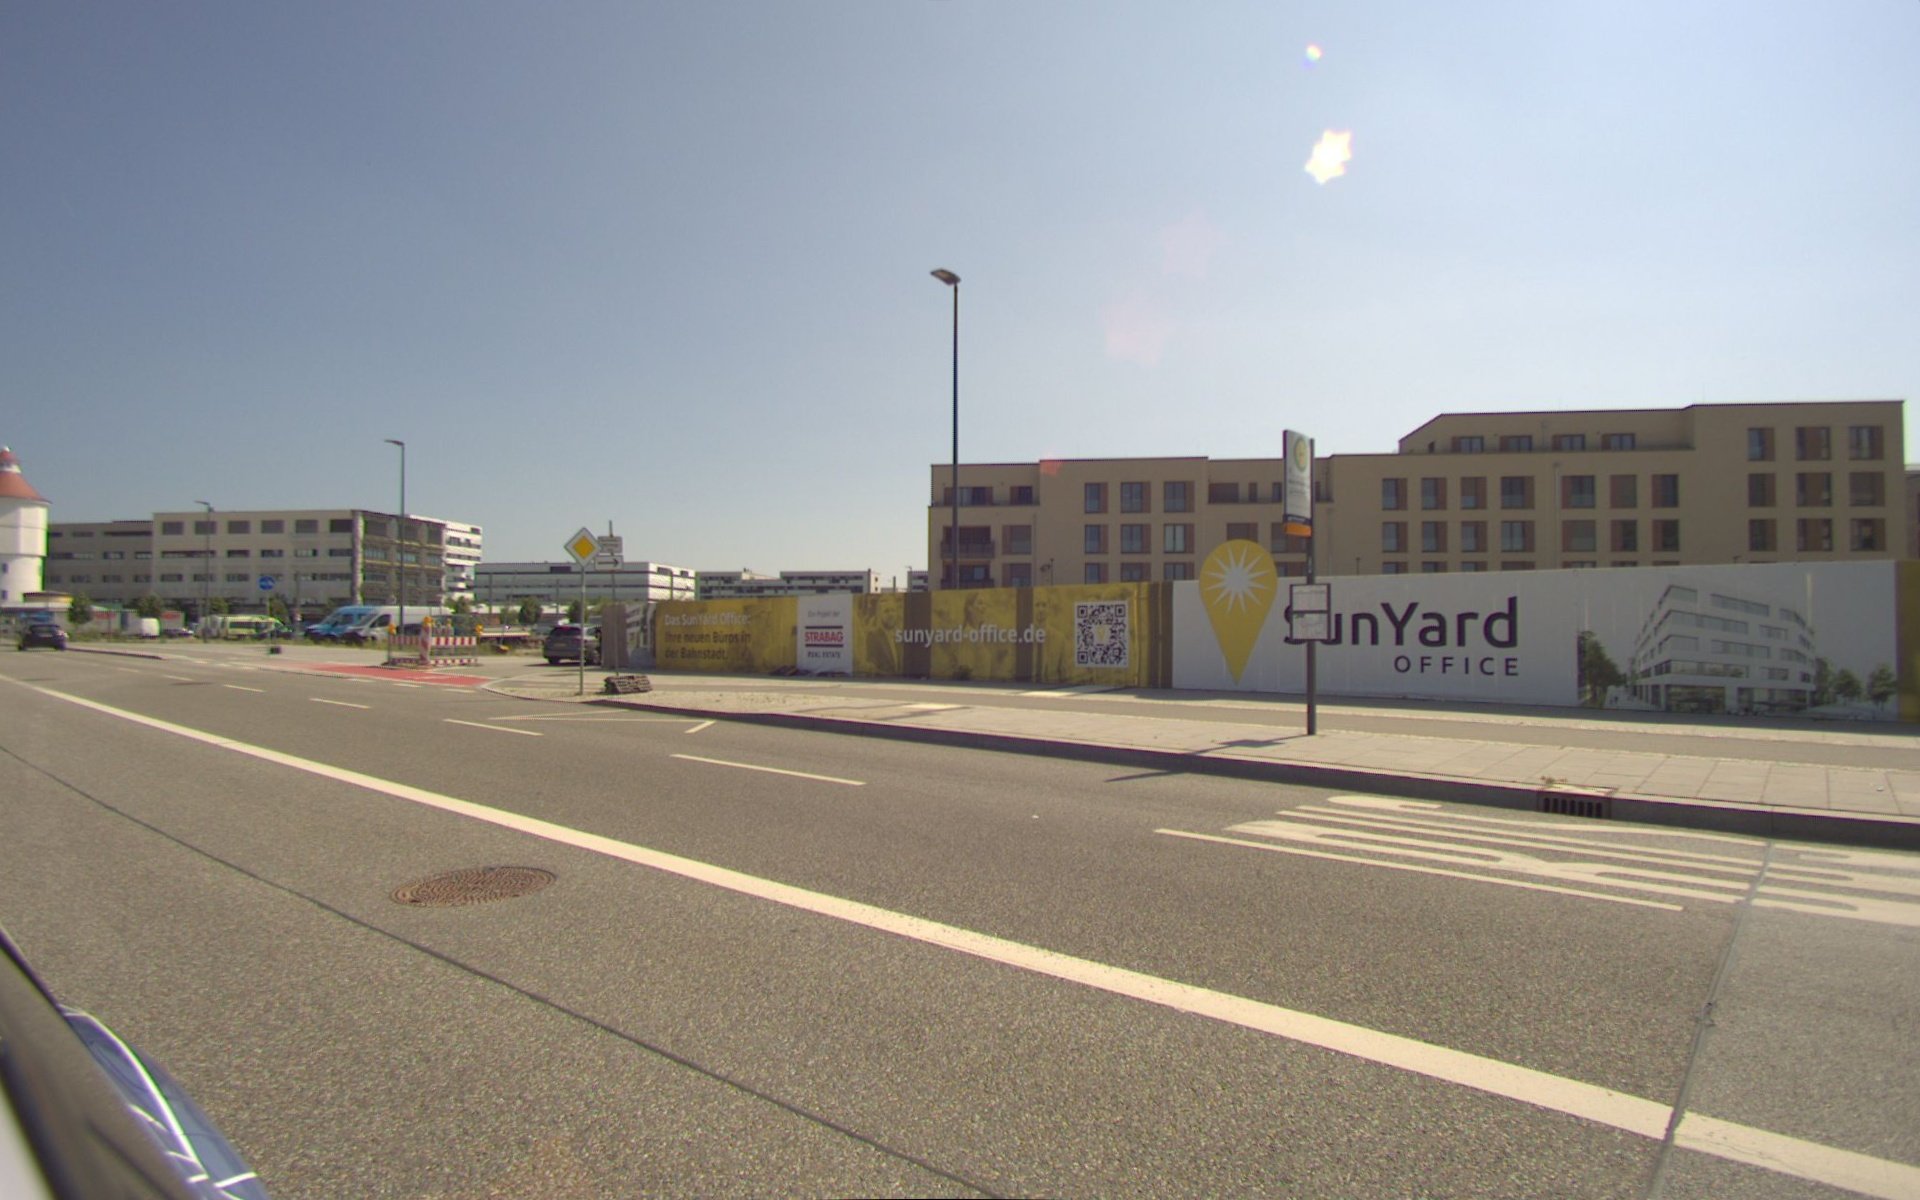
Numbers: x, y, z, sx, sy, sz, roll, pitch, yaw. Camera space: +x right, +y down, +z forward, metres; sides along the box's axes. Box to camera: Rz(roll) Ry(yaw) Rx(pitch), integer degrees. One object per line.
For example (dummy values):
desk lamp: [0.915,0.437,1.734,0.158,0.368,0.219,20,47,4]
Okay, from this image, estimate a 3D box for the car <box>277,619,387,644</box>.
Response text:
car: [-40.025,1.975,64.616,2.104,1.485,5.596,-2,-1,38]

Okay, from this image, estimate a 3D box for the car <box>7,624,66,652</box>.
car: [-47.139,1.910,51.648,4.453,1.362,1.686,-1,-2,41]

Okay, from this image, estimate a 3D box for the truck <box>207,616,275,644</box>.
truck: [-81.239,3.359,114.394,2.568,2.846,5.777,0,1,40]

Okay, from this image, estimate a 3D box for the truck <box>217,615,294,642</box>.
truck: [-78.471,3.122,112.804,2.599,2.847,6.573,-2,-1,38]

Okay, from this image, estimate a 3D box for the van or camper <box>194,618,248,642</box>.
van or camper: [-87.905,3.545,120.462,2.258,2.682,4.849,-2,-2,40]

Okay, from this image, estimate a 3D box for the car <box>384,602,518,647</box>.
car: [-26.374,1.248,52.587,5.812,2.182,2.398,0,-2,-43]

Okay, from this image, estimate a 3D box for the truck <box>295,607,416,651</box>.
truck: [-37.115,1.798,62.304,2.274,2.563,5.942,-2,-3,41]

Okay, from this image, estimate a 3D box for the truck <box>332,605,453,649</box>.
truck: [-32.072,1.547,57.360,2.273,2.381,5.511,-2,-3,39]

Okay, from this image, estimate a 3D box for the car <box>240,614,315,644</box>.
car: [-45.699,1.954,67.789,3.938,1.918,1.830,2,-3,-42]

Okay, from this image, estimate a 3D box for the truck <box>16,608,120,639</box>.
truck: [-127.534,3.313,145.020,3.281,4.098,10.896,0,0,23]

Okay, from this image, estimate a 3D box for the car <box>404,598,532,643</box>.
car: [-25.023,1.084,51.667,2.391,2.190,5.392,-2,-3,37]

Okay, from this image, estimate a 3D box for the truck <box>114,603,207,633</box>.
truck: [-122.574,2.715,155.363,3.331,4.307,10.841,0,0,29]

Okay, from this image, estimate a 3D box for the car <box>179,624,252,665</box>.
car: [-29.458,1.731,40.010,3.678,1.488,1.590,0,-3,42]

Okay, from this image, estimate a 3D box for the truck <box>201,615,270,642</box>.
truck: [-84.511,3.310,118.134,2.569,2.923,6.081,0,1,41]

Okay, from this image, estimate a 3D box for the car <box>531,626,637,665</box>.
car: [-13.643,1.650,36.987,1.975,1.328,4.240,0,-2,5]
